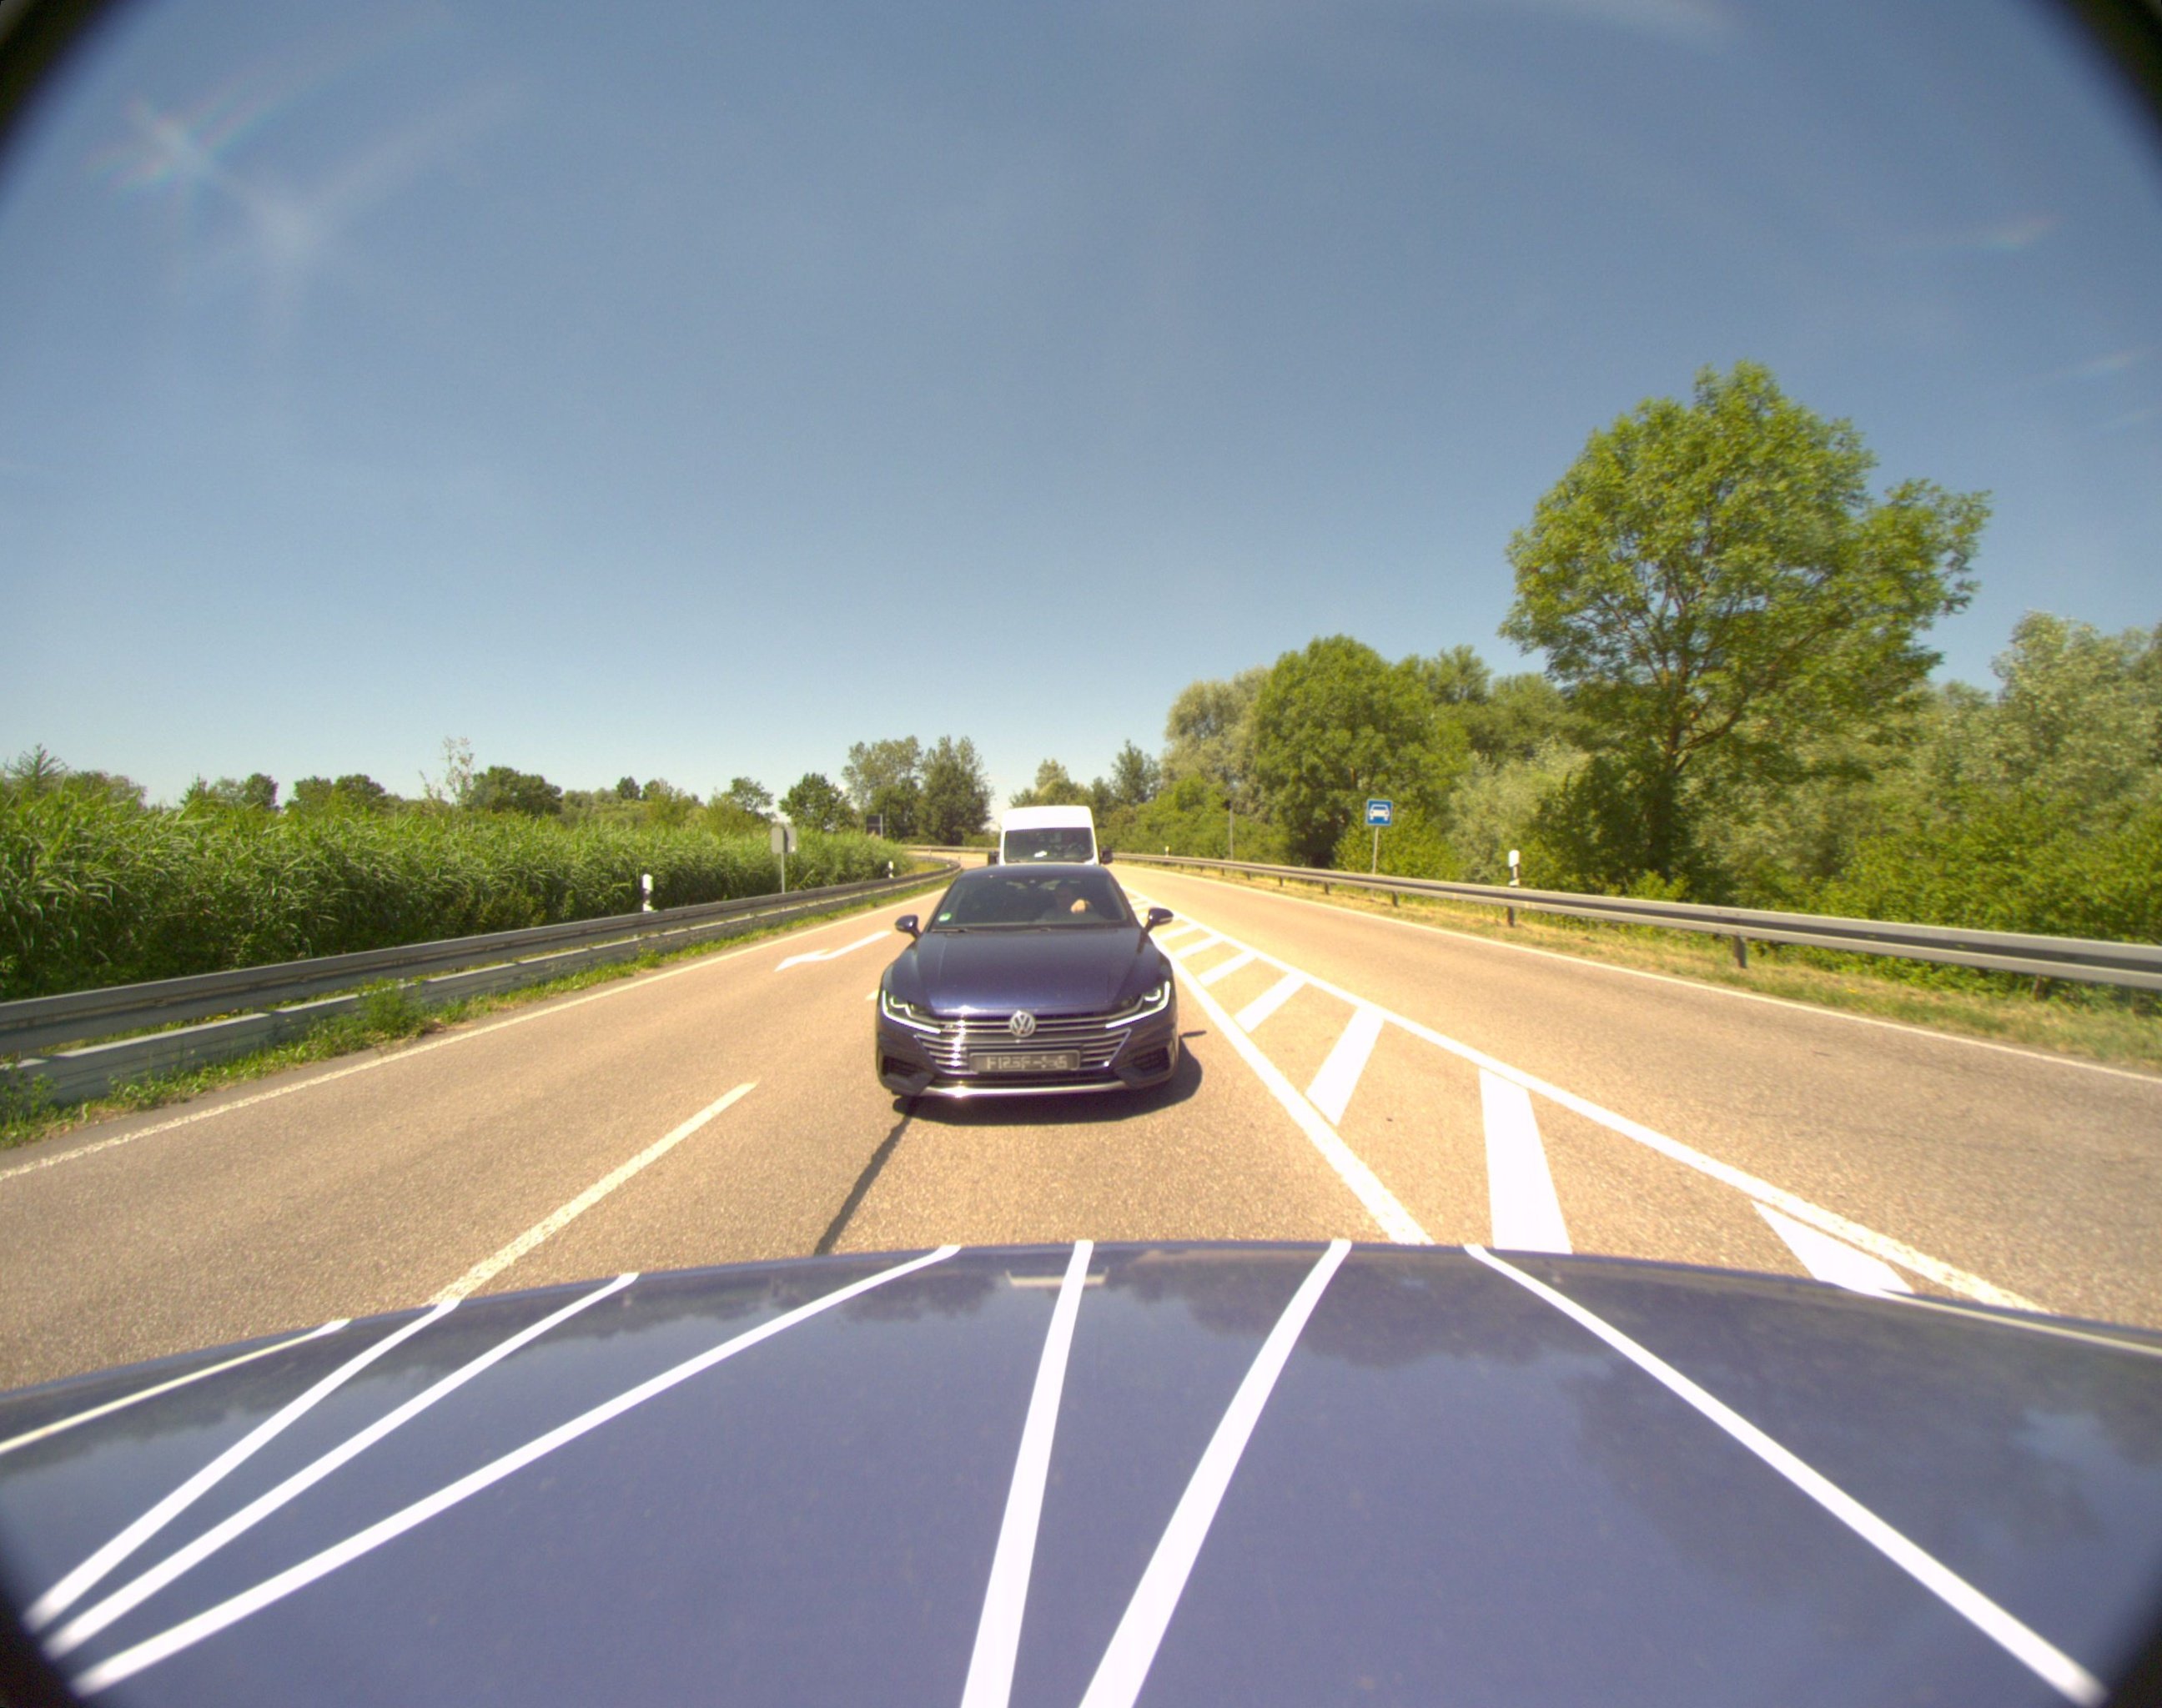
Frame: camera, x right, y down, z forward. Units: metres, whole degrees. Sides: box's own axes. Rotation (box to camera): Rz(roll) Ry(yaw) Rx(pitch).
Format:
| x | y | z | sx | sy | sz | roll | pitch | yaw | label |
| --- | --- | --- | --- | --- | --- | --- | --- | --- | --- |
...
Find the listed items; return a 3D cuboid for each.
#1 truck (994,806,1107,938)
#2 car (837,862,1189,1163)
| x | y | z | sx | sy | sz | roll | pitch | yaw | label |
| --- | --- | --- | --- | --- | --- | --- | --- | --- | --- |
| -0.736 | 0.302 | 16.861 | 2.011 | 2.365 | 5.909 | -2 | 1 | -4 | truck |
| -0.333 | 0.866 | 6.218 | 1.819 | 1.454 | 4.415 | -2 | 1 | 1 | car |
